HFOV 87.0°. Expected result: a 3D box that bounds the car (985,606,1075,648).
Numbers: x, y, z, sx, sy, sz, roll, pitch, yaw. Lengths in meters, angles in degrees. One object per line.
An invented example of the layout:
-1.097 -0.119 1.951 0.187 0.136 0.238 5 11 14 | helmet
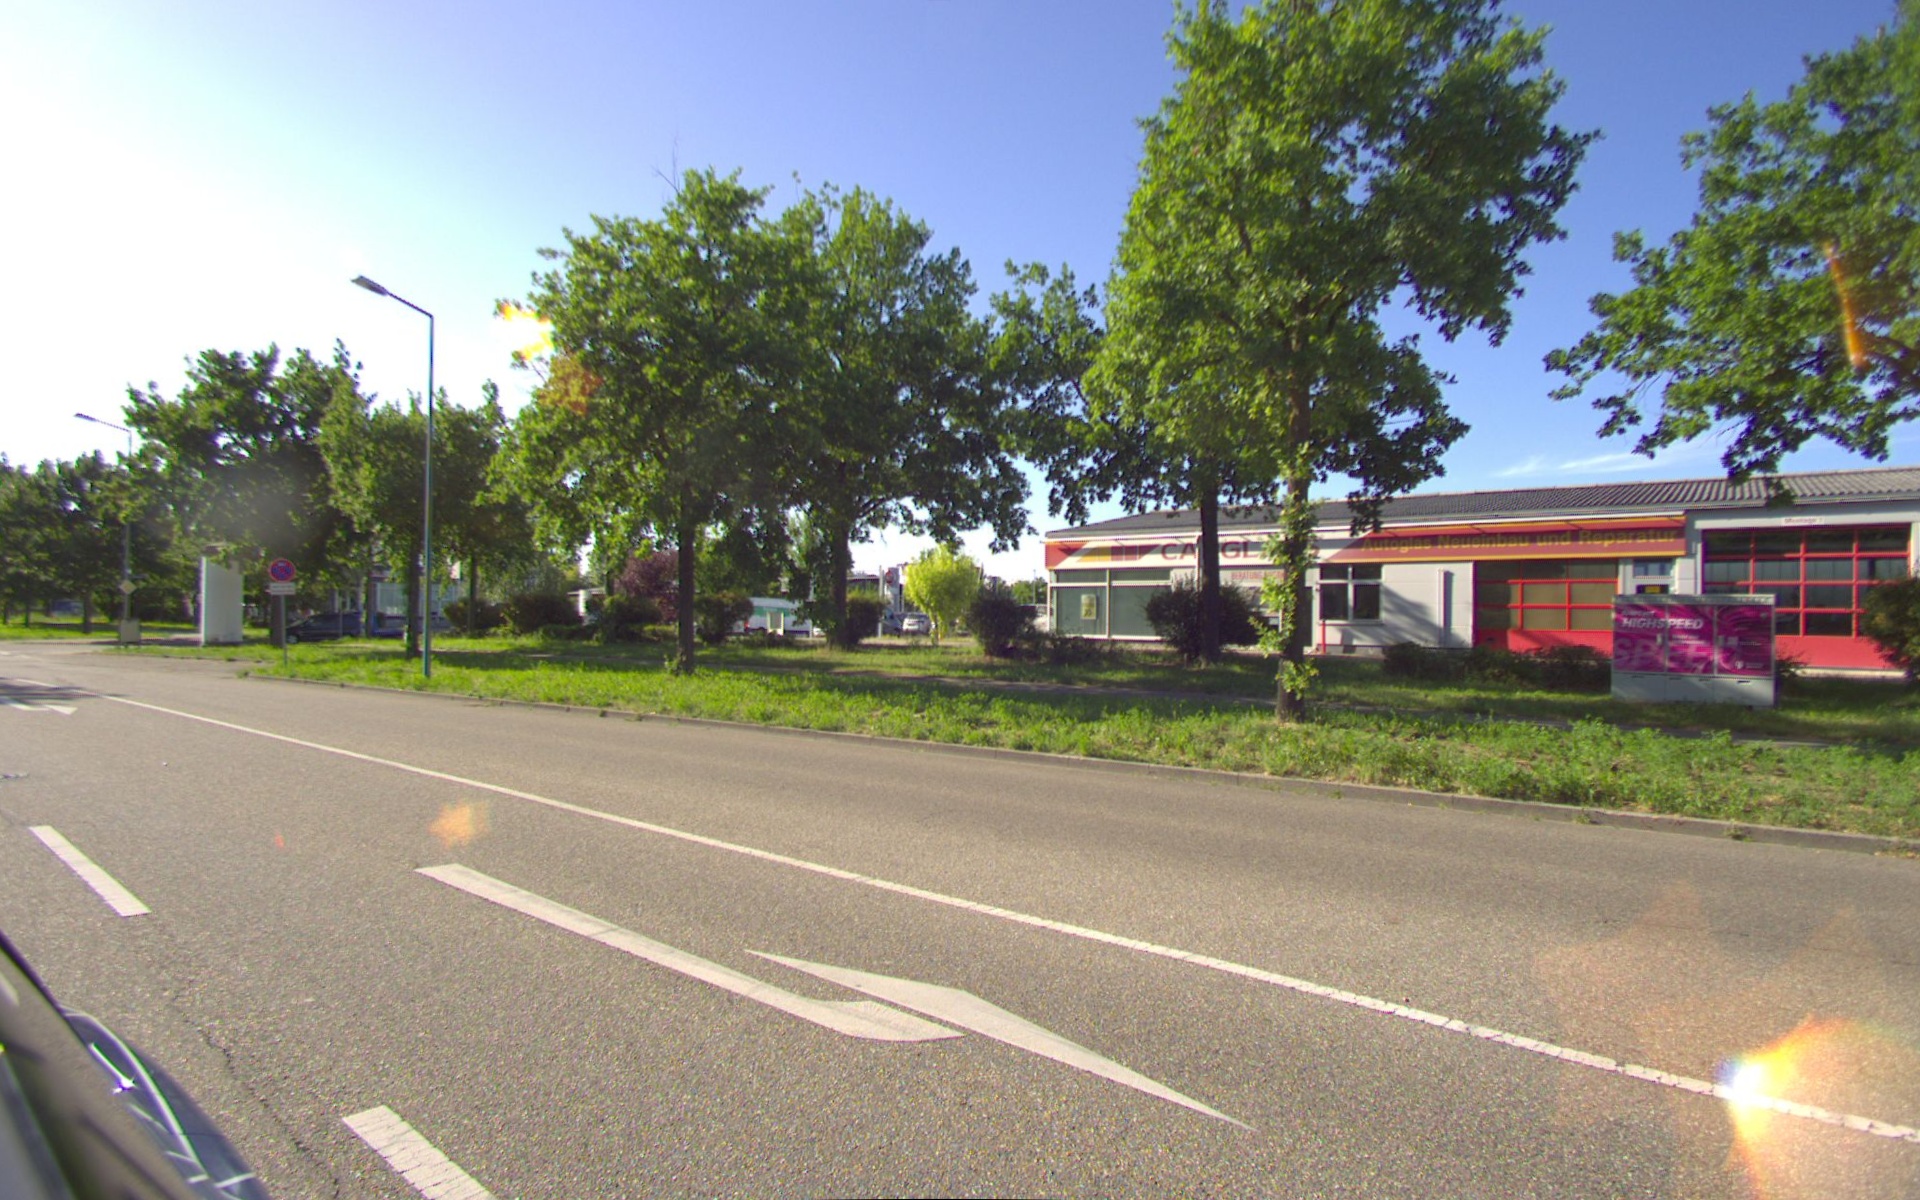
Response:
2.874 1.075 40.902 1.734 1.583 3.769 -2 -1 40 | car

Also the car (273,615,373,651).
-36.062 1.817 57.363 1.999 1.847 4.406 0 0 41 | car

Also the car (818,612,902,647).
-5.485 1.601 56.090 1.989 1.795 4.583 0 0 40 | car

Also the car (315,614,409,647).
-36.311 1.807 61.543 1.999 1.847 4.578 0 0 41 | car

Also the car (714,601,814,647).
-11.789 1.383 61.302 2.406 2.574 5.952 0 0 36 | car

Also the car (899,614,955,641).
-2.209 1.868 68.924 1.761 1.684 3.811 0 0 40 | car
